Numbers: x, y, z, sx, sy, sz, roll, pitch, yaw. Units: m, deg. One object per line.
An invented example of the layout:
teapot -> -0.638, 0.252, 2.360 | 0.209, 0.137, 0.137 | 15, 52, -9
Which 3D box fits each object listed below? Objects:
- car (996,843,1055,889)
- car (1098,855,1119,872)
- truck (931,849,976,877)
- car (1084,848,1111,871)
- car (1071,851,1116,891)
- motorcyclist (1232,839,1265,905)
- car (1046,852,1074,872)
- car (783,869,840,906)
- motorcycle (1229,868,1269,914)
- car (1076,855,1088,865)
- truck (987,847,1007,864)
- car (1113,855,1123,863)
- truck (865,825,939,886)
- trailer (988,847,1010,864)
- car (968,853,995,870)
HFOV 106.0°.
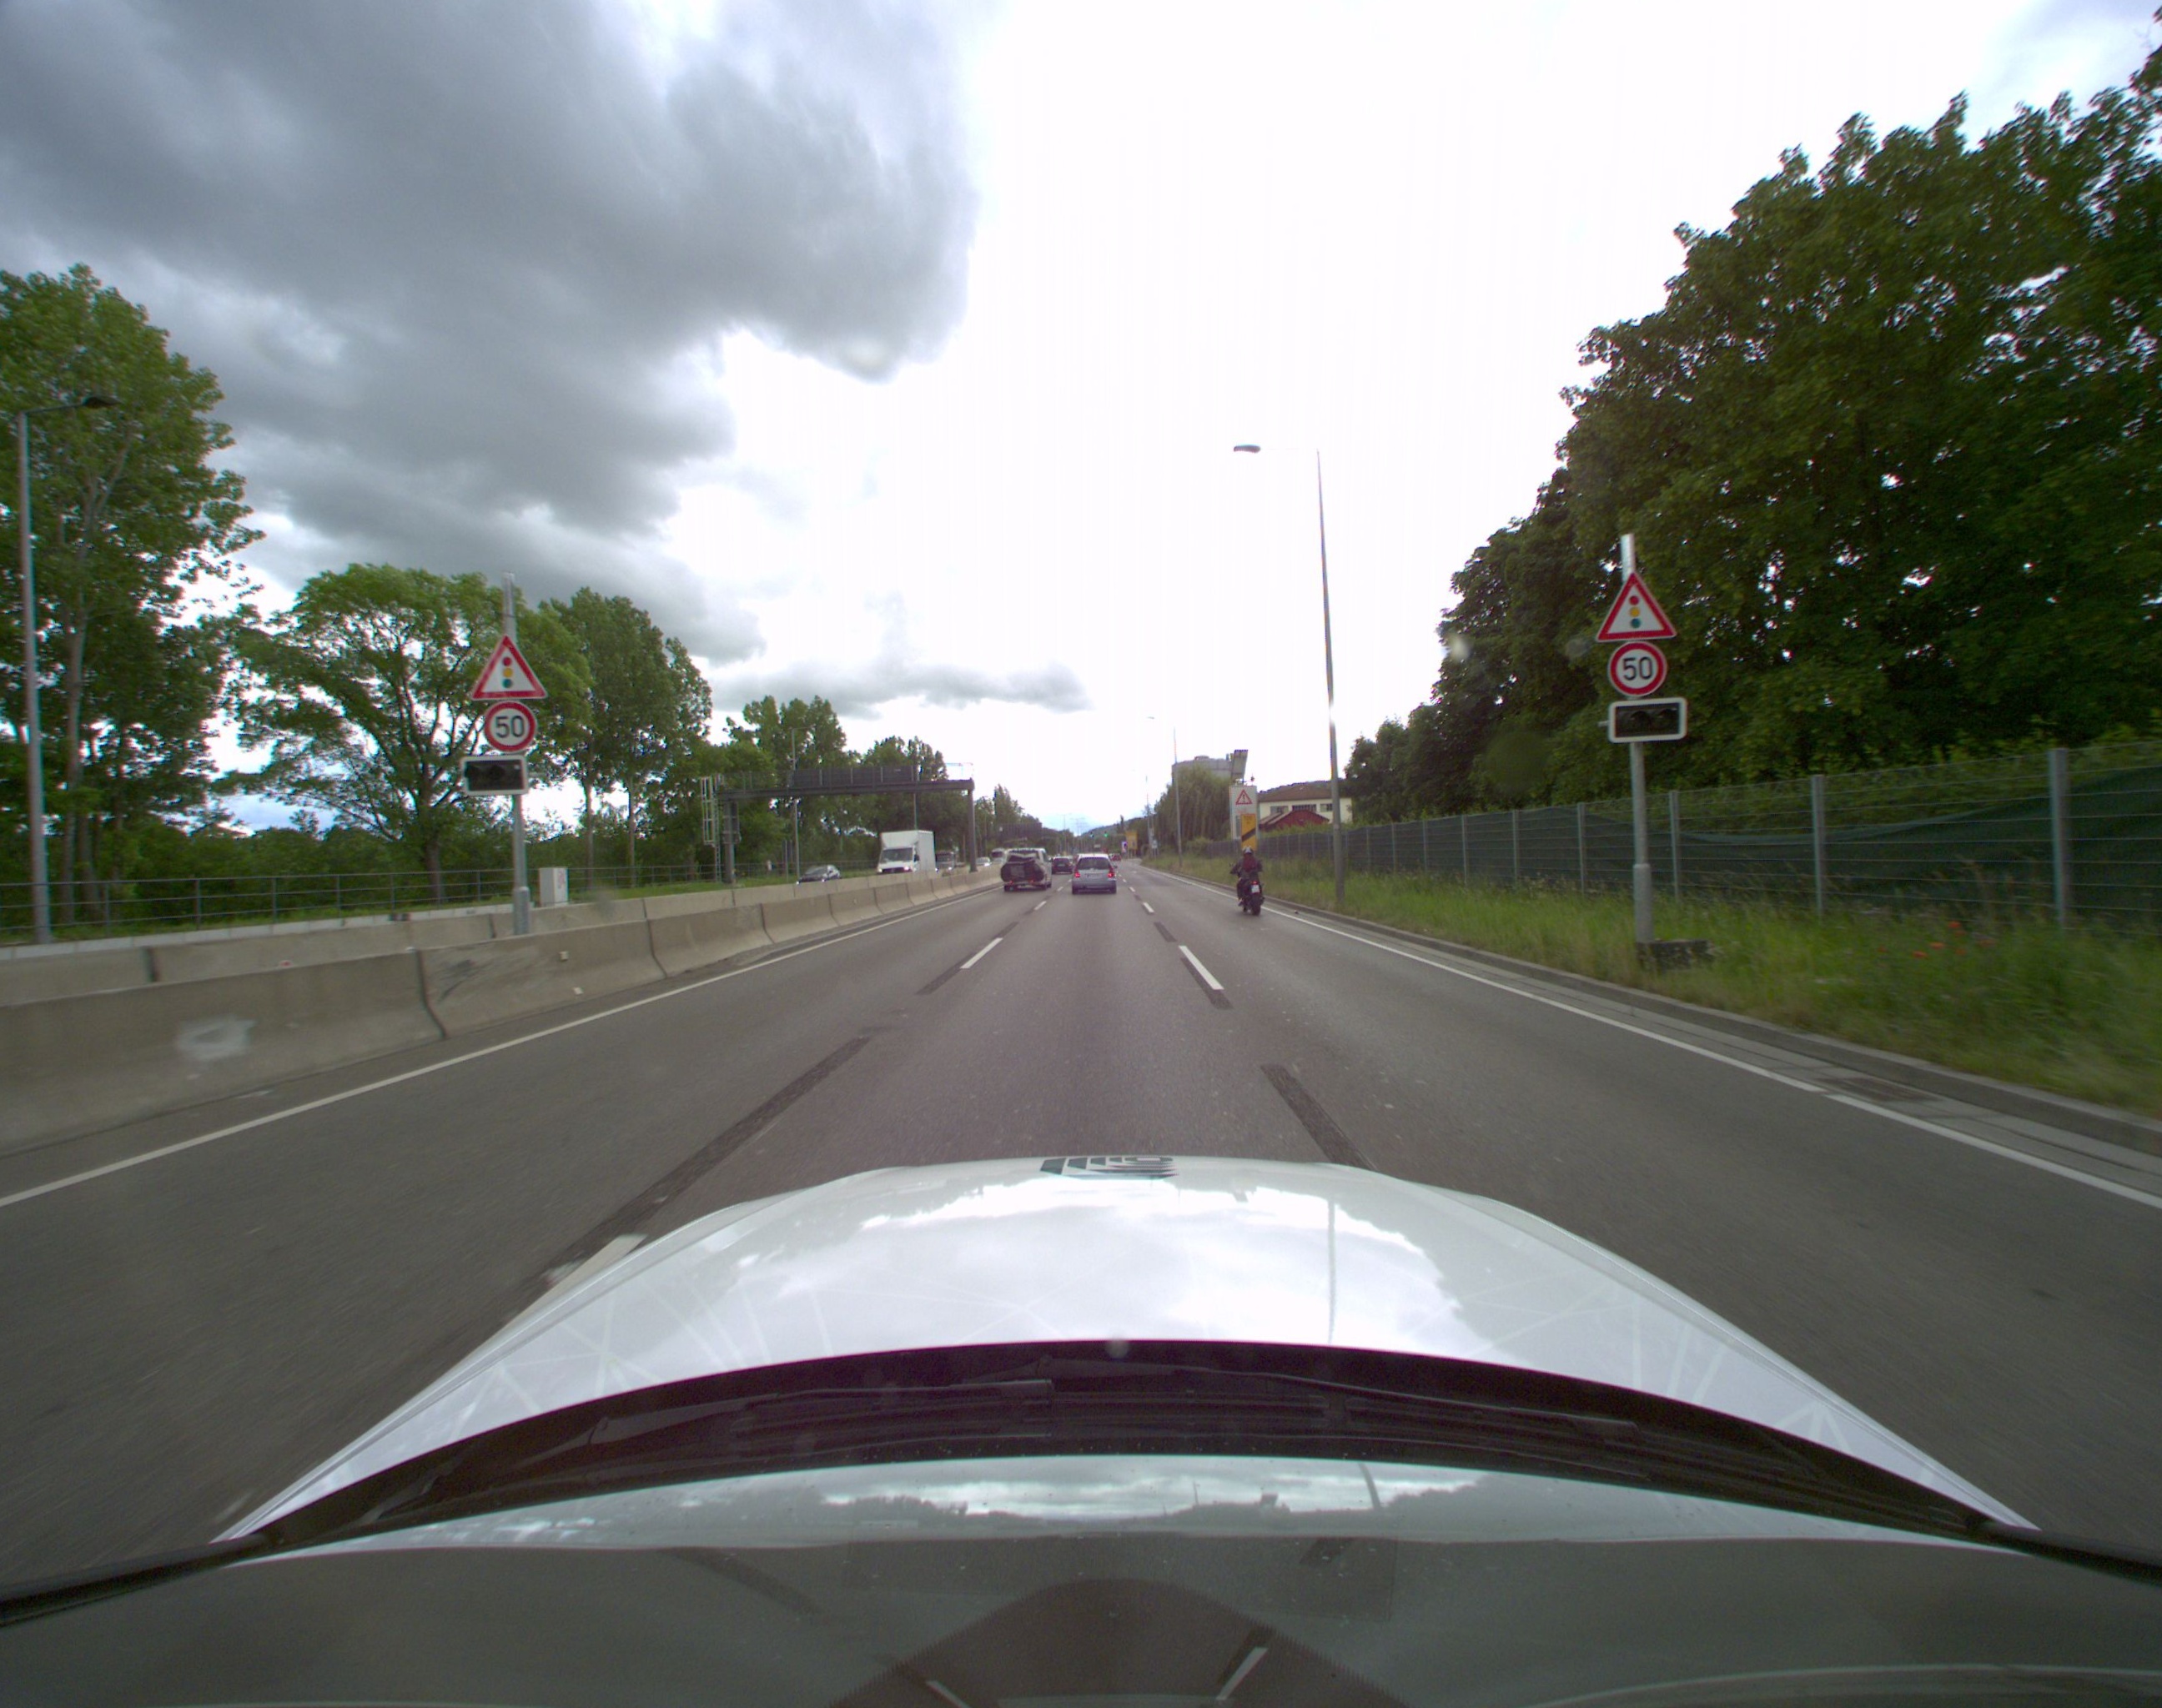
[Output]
car -> -2.405, 0.498, 36.621 | 2.207, 1.925, 5.003 | 0, 0, 1
car -> 2.557, 0.869, 75.811 | 1.833, 1.464, 4.001 | 0, 0, 1
truck -> -15.636, 1.008, 101.490 | 2.844, 3.107, 15.887 | 0, 0, 1
car -> 1.255, 0.376, 60.548 | 1.900, 1.684, 4.002 | 0, 0, 2
car -> 0.518, 0.658, 33.194 | 1.704, 1.530, 4.001 | 0, 0, 1
motorcyclist -> 4.183, 0.446, 20.379 | 0.682, 1.610, 0.846 | 0, 0, 3
car -> -1.659, 0.655, 66.285 | 1.986, 1.552, 4.002 | 0, 0, 2
car -> -16.000, 1.964, 48.555 | 1.987, 2.013, 4.000 | 0, 0, 0
motorcycle -> 4.187, 0.902, 20.456 | 0.703, 1.040, 2.029 | 0, 0, 3
car -> 0.131, 1.000, 137.671 | 1.987, 1.552, 4.000 | 0, 0, 0
truck -> -15.432, 0.254, 149.435 | 3.089, 3.219, 5.390 | 0, 0, -1
car -> 7.500, 0.948, 166.209 | 1.987, 1.552, 4.000 | 0, 0, 0
truck -> -9.819, 0.057, 45.363 | 2.395, 3.107, 7.202 | 0, 0, 1
trailer -> -15.492, 0.236, 155.093 | 3.091, 3.220, 11.664 | 0, 0, -1
car -> -9.841, 0.749, 80.636 | 1.919, 1.618, 4.457 | 0, 0, 2
